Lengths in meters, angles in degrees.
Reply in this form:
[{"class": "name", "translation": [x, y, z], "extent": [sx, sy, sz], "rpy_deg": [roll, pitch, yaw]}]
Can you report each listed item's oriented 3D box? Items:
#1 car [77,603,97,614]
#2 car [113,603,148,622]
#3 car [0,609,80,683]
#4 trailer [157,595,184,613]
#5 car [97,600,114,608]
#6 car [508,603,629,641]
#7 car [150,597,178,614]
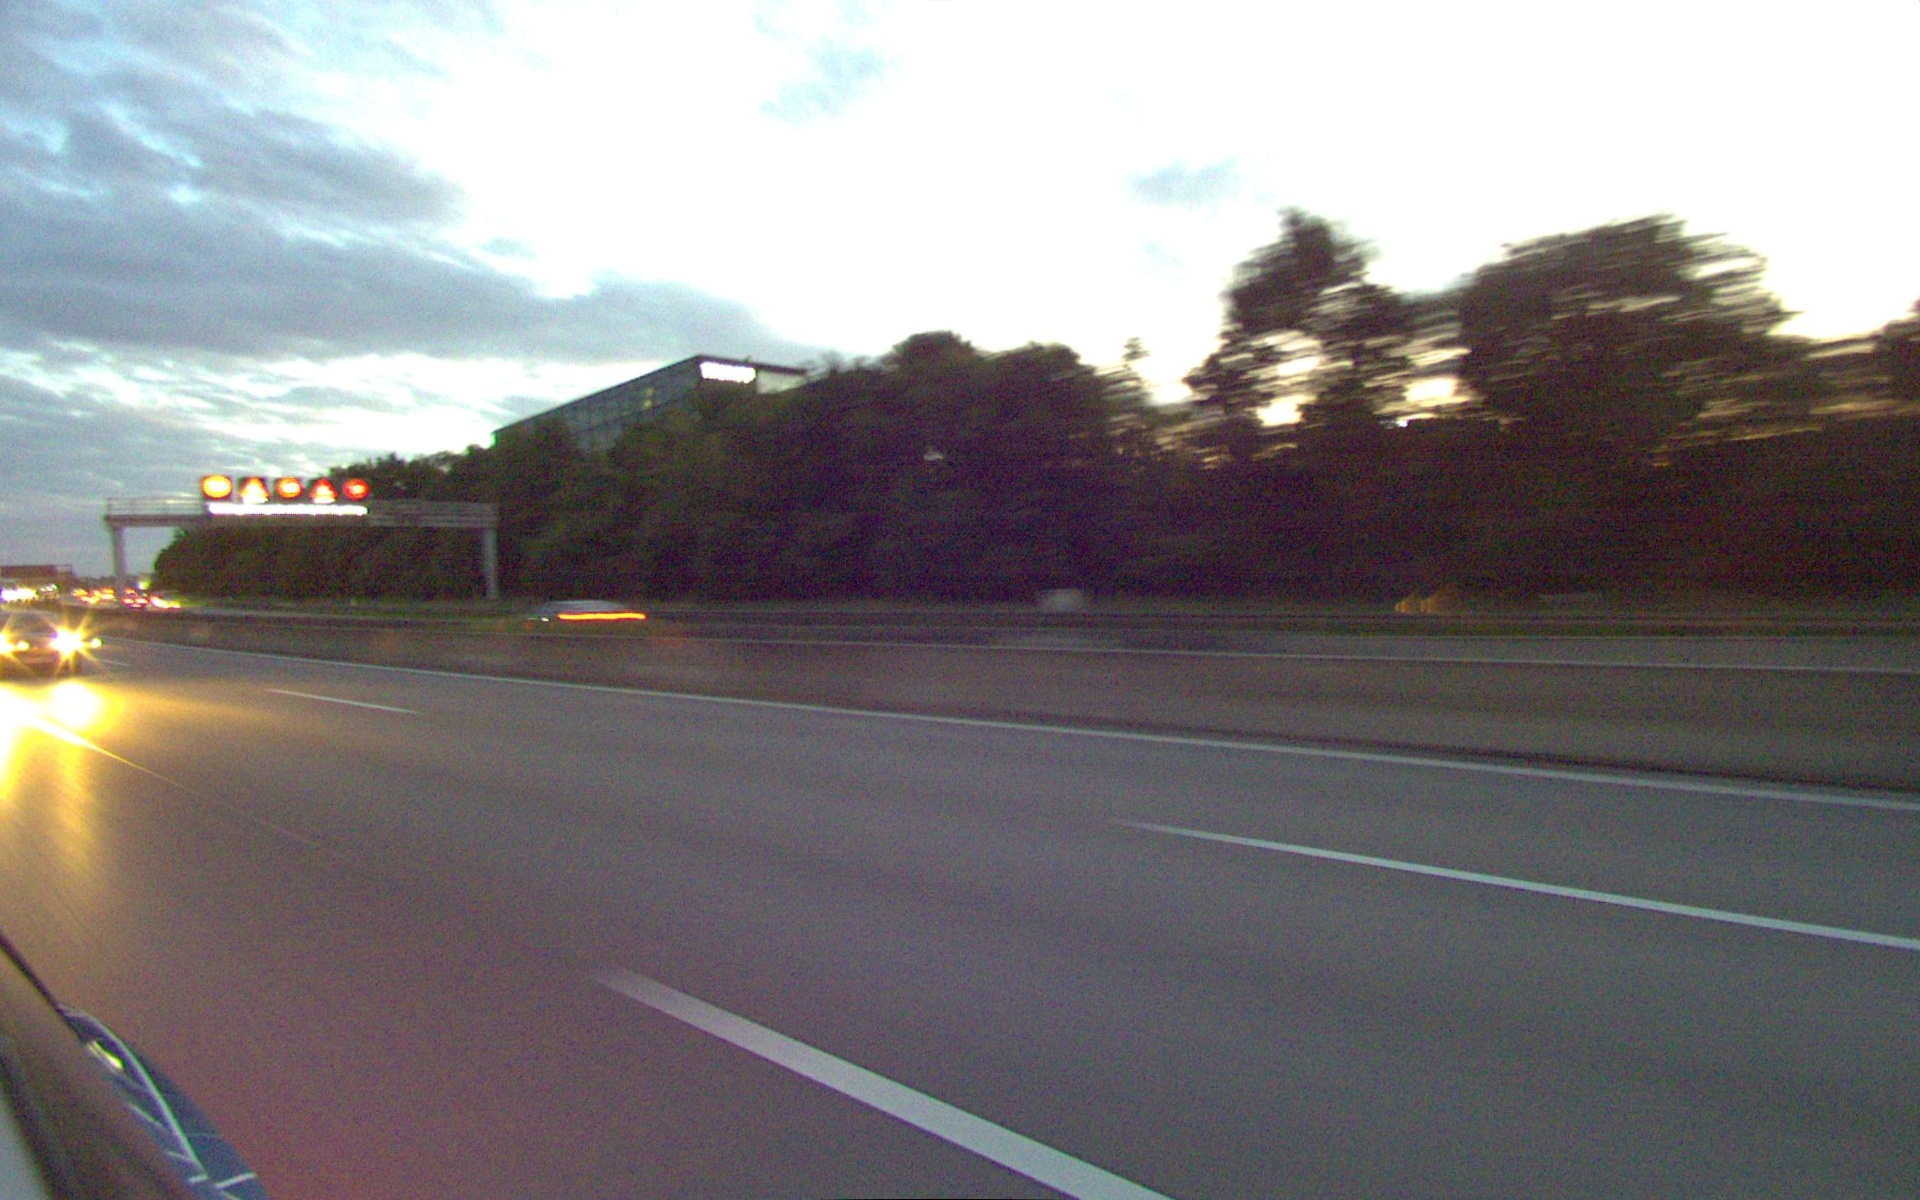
[{"class": "car", "translation": [-126.316, 1.231, 146.446], "extent": [4.898, 1.364, 1.671], "rpy_deg": [0, 2, 43]}, {"class": "car", "translation": [-86.375, 1.251, 105.322], "extent": [6.013, 1.881, 1.893], "rpy_deg": [0, 2, 42]}, {"class": "car", "translation": [-21.611, 0.995, 23.241], "extent": [4.000, 1.491, 1.694], "rpy_deg": [0, 2, 43]}, {"class": "trailer", "translation": [-92.995, 0.489, 119.212], "extent": [4.241, 2.017, 1.892], "rpy_deg": [-1, 2, 43]}, {"class": "car", "translation": [-164.222, 0.737, 194.526], "extent": [5.009, 1.545, 1.971], "rpy_deg": [0, 2, 45]}, {"class": "car", "translation": [-14.734, 0.768, 37.949], "extent": [5.231, 1.235, 2.038], "rpy_deg": [0, 2, 41]}, {"class": "car", "translation": [-96.963, 0.650, 123.193], "extent": [5.525, 1.881, 1.892], "rpy_deg": [0, 2, 43]}]
